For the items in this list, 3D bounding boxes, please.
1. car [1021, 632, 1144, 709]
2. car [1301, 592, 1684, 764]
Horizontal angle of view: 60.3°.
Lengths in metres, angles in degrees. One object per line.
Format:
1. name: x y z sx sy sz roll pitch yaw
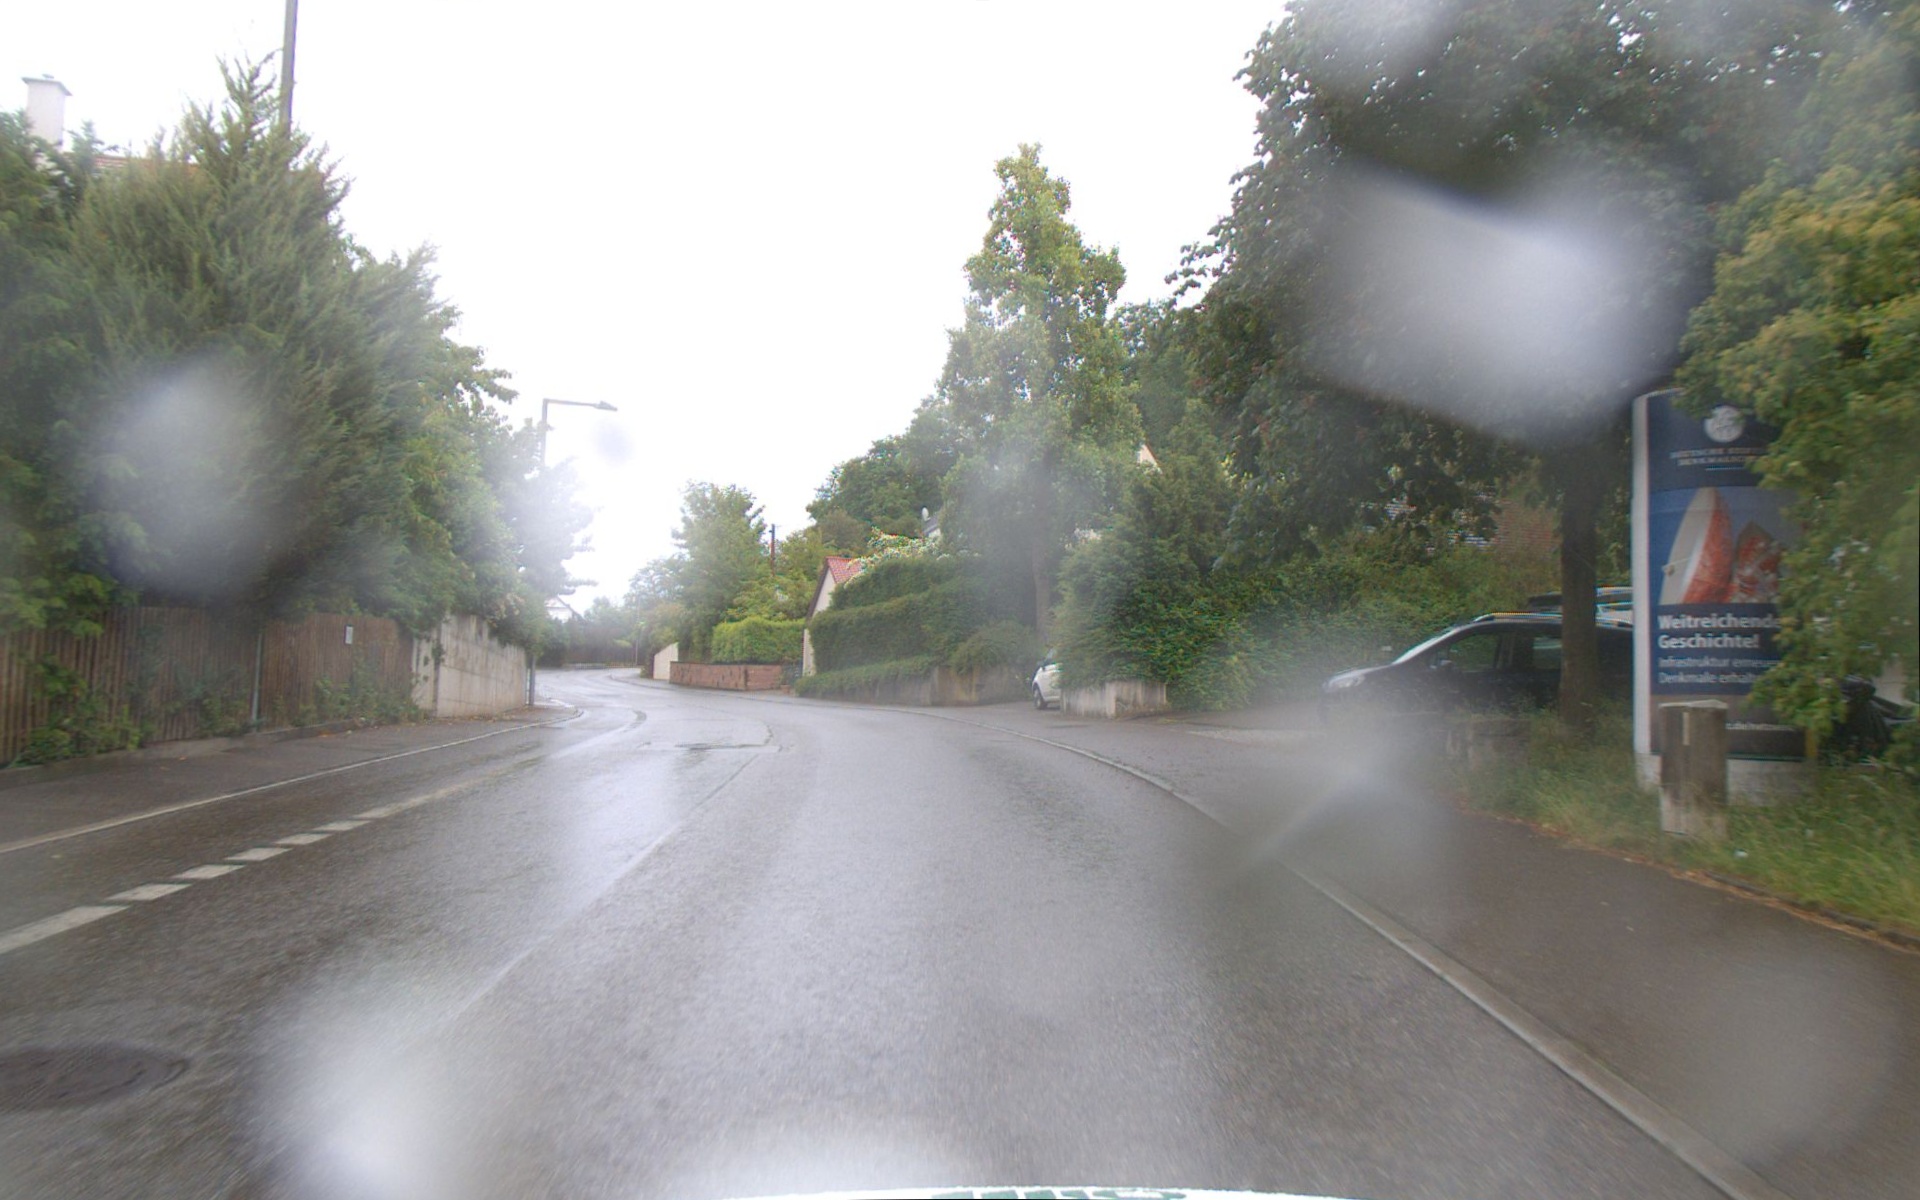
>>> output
1. car: 2.726 1.588 37.739 1.507 1.562 3.828 -3 -1 -16
2. car: 6.406 0.950 20.339 4.239 1.746 1.730 3 -3 11
